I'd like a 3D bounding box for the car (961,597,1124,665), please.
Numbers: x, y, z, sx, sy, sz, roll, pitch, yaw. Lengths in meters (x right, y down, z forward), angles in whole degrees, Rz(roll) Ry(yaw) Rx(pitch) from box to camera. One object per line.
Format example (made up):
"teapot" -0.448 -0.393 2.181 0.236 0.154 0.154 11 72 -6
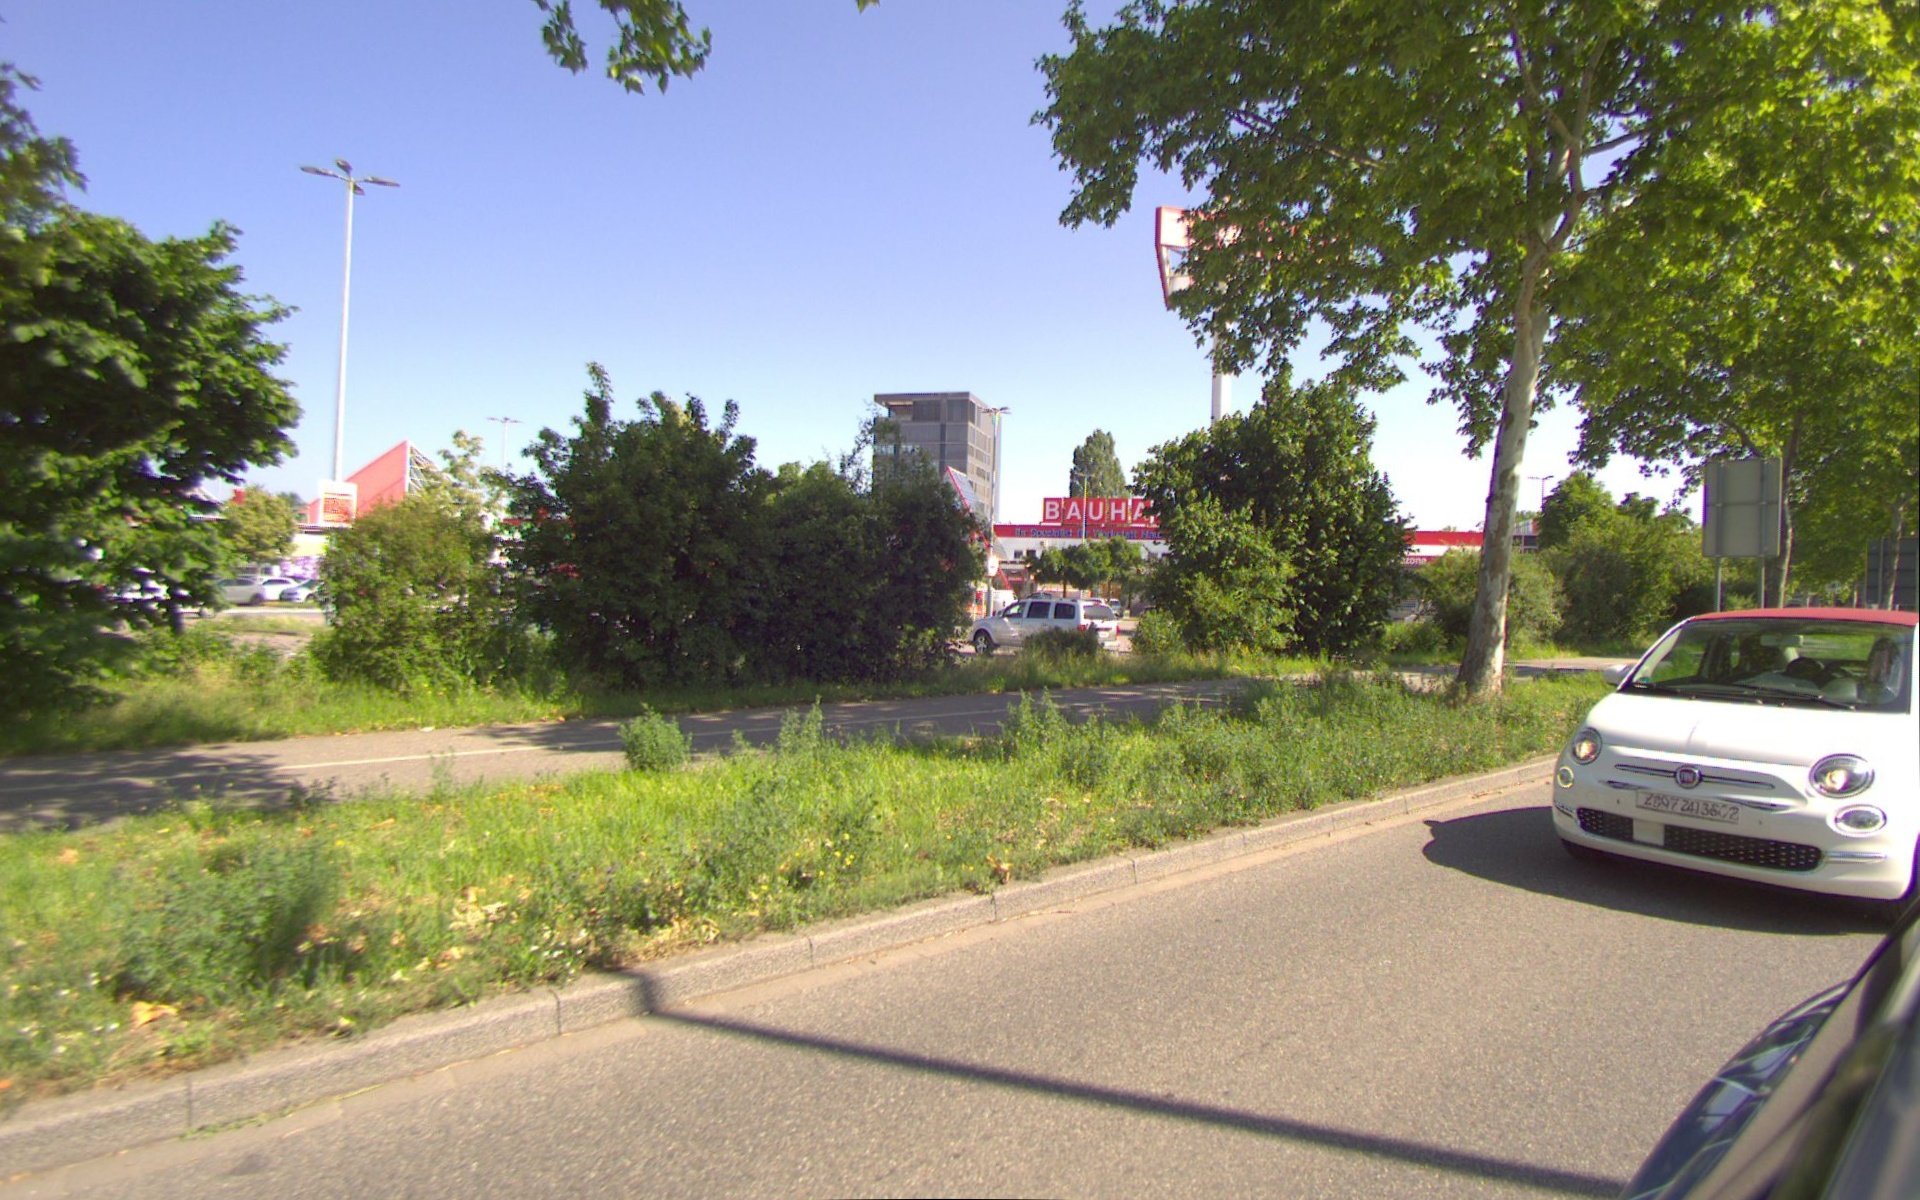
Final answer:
"car" 2.344 0.850 29.880 1.776 1.839 4.973 0 0 -42

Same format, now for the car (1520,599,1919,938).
"car" 5.103 0.727 5.979 3.450 1.455 1.668 0 0 -32

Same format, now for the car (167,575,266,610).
"car" -35.072 -0.348 47.806 1.661 1.572 3.499 0 0 16

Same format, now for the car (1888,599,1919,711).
"car" 16.217 0.816 15.880 4.484 1.643 1.922 0 0 -41

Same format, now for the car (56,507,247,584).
"car" -46.677 -2.989 58.867 2.421 4.000 8.833 0 0 17

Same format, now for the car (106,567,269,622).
"car" -24.997 -0.170 32.930 1.967 1.672 3.989 0 0 9
